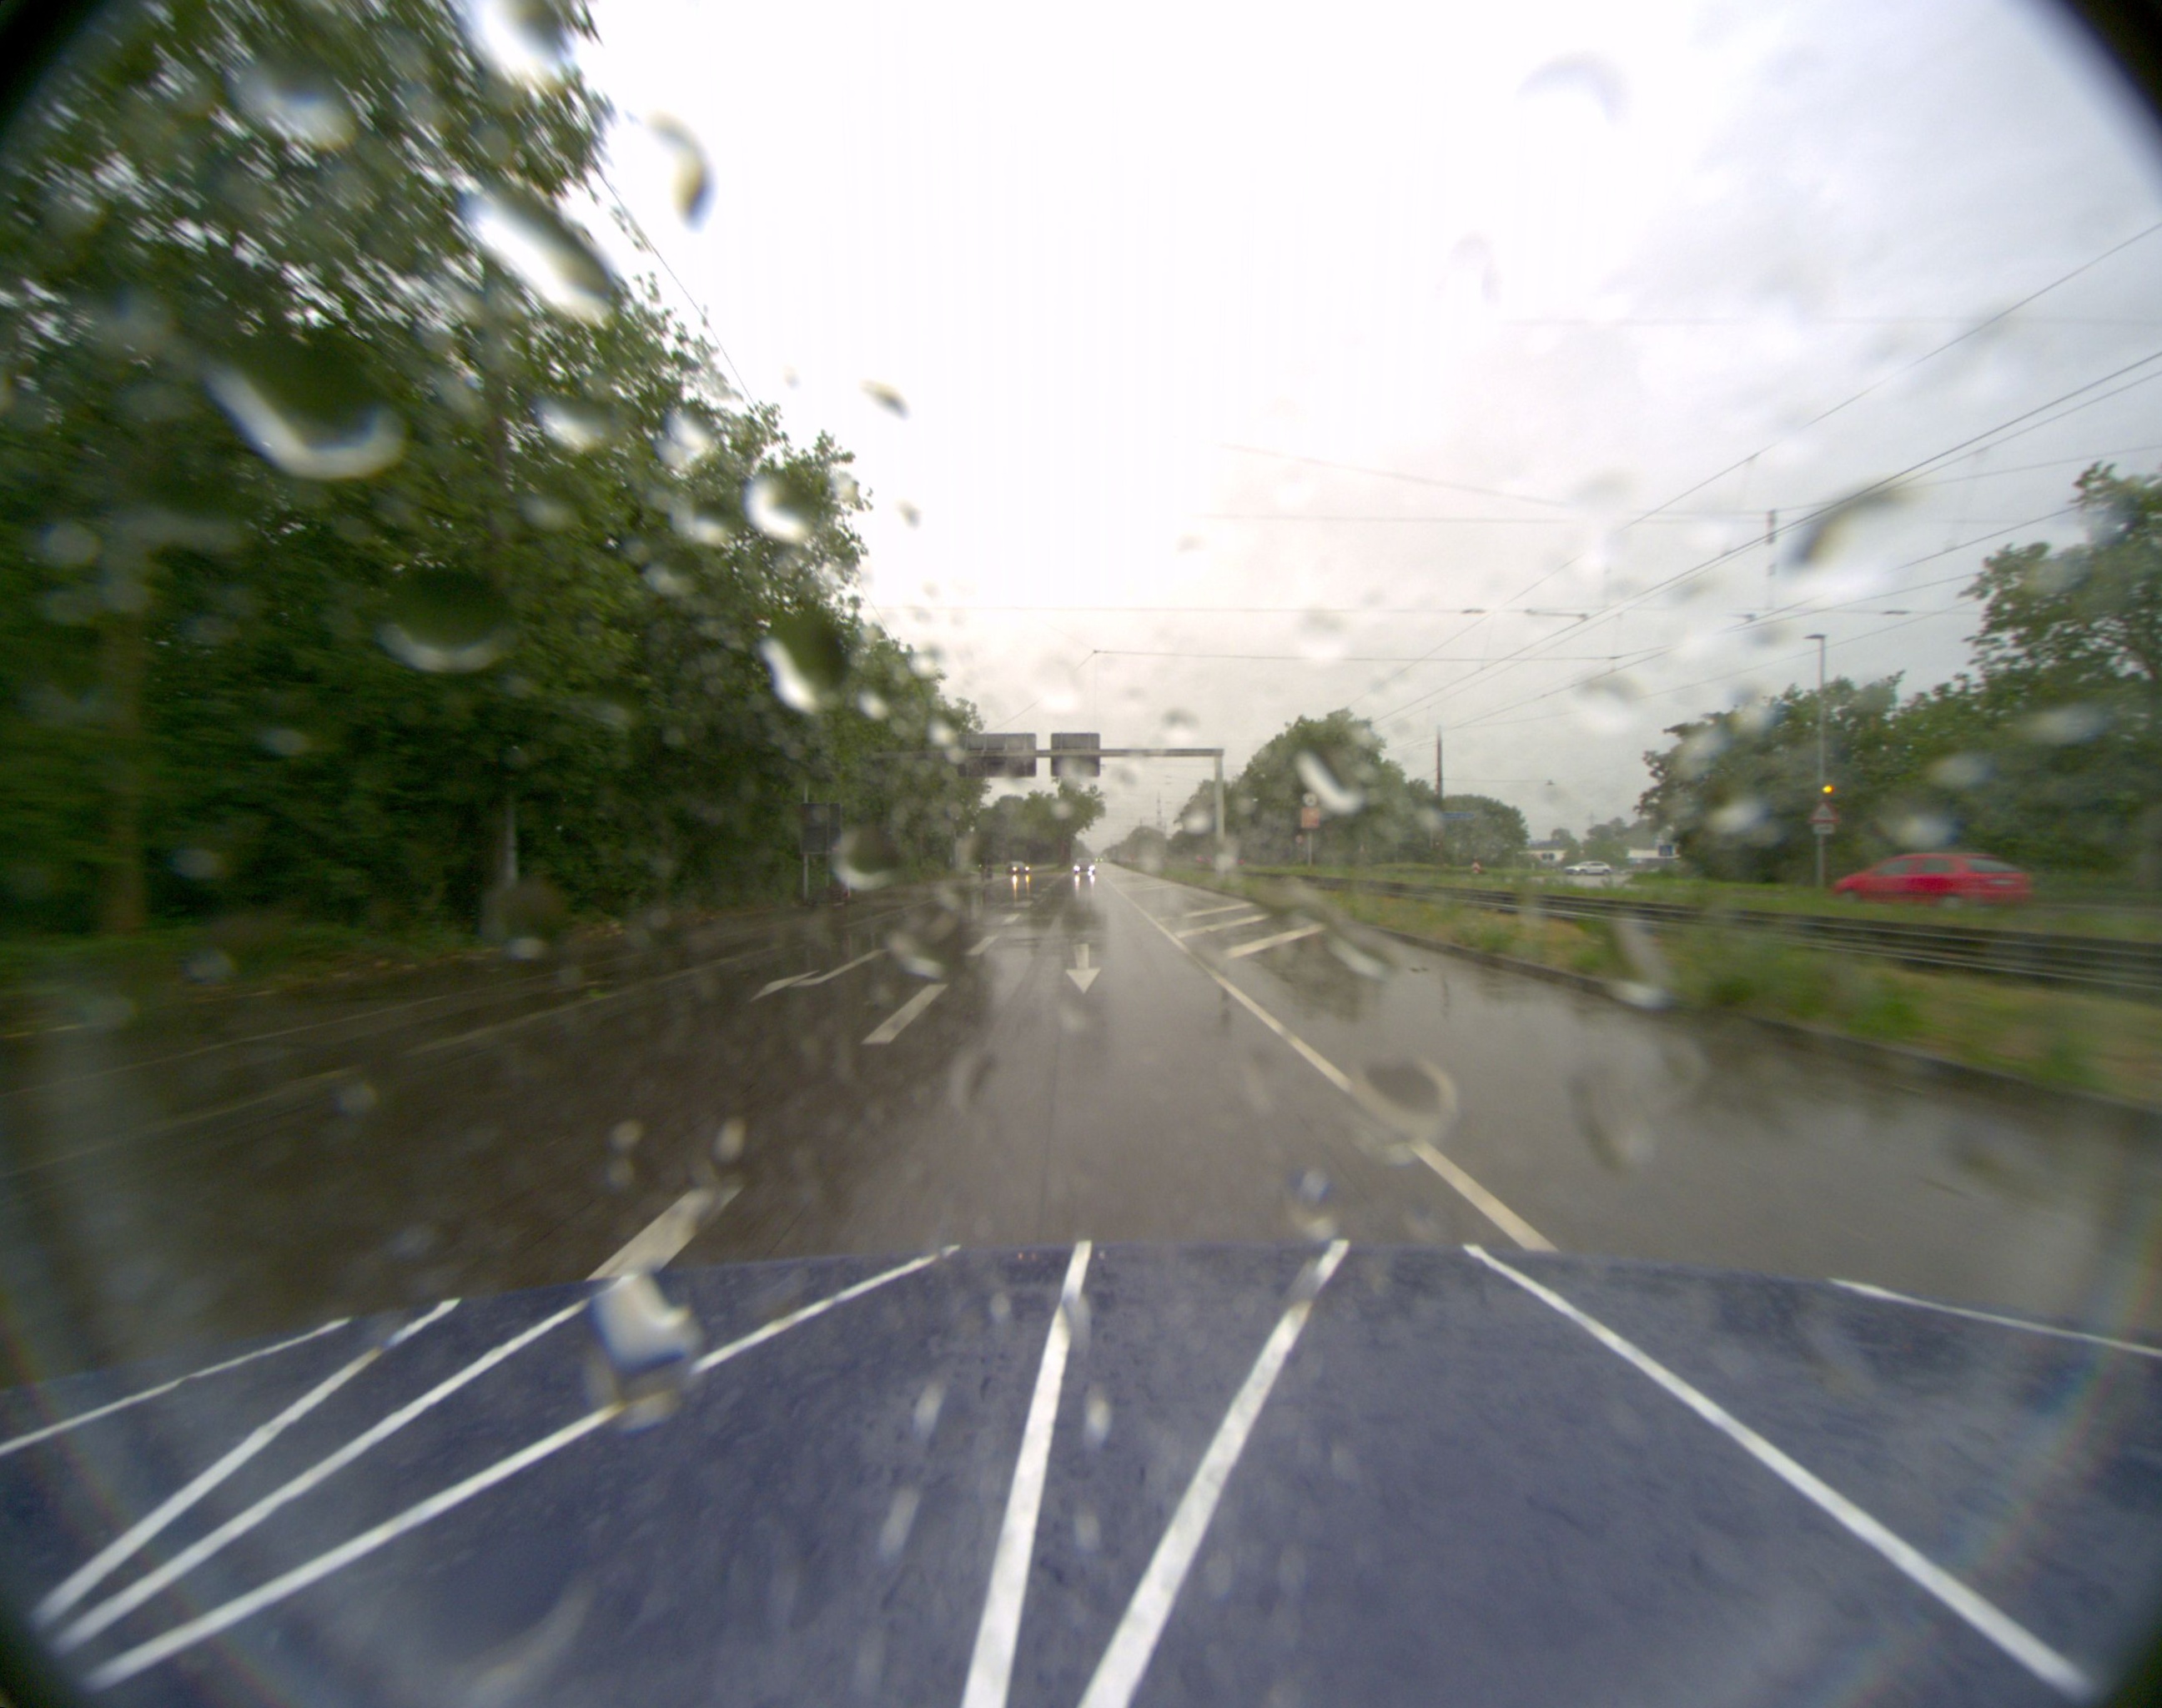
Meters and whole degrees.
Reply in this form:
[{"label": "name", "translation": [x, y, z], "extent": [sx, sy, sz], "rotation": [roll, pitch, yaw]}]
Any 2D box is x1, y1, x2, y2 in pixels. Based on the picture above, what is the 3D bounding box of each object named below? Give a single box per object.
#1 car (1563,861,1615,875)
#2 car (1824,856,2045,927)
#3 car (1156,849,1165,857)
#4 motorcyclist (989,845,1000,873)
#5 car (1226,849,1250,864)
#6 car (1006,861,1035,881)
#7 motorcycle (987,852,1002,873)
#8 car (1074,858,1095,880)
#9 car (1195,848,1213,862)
[{"label": "car", "translation": [52.675, 1.423, 78.863], "extent": [4.491, 1.348, 1.606], "rotation": [-1, 1, -7]}, {"label": "car", "translation": [21.610, 0.880, 19.467], "extent": [1.606, 1.580, 3.618], "rotation": [-1, 1, 0]}, {"label": "car", "translation": [19.913, -0.260, 190.019], "extent": [1.998, 2.002, 4.000], "rotation": [-1, 0, 1]}, {"label": "motorcyclist", "translation": [-7.144, 0.393, 62.808], "extent": [0.762, 2.246, 0.915], "rotation": [-1, 1, 0]}, {"label": "car", "translation": [21.307, 0.340, 103.271], "extent": [1.975, 2.002, 4.519], "rotation": [-1, 0, -3]}, {"label": "car", "translation": [-6.345, 1.729, 79.578], "extent": [2.002, 2.002, 3.993], "rotation": [-1, 0, -21]}, {"label": "motorcycle", "translation": [-7.138, 0.685, 62.889], "extent": [0.845, 1.710, 2.586], "rotation": [-1, 0, 0]}, {"label": "car", "translation": [0.386, 1.422, 74.318], "extent": [1.998, 2.002, 4.000], "rotation": [-1, 0, 1]}, {"label": "car", "translation": [17.527, 0.122, 108.682], "extent": [1.998, 2.002, 4.000], "rotation": [-1, 0, 1]}]
